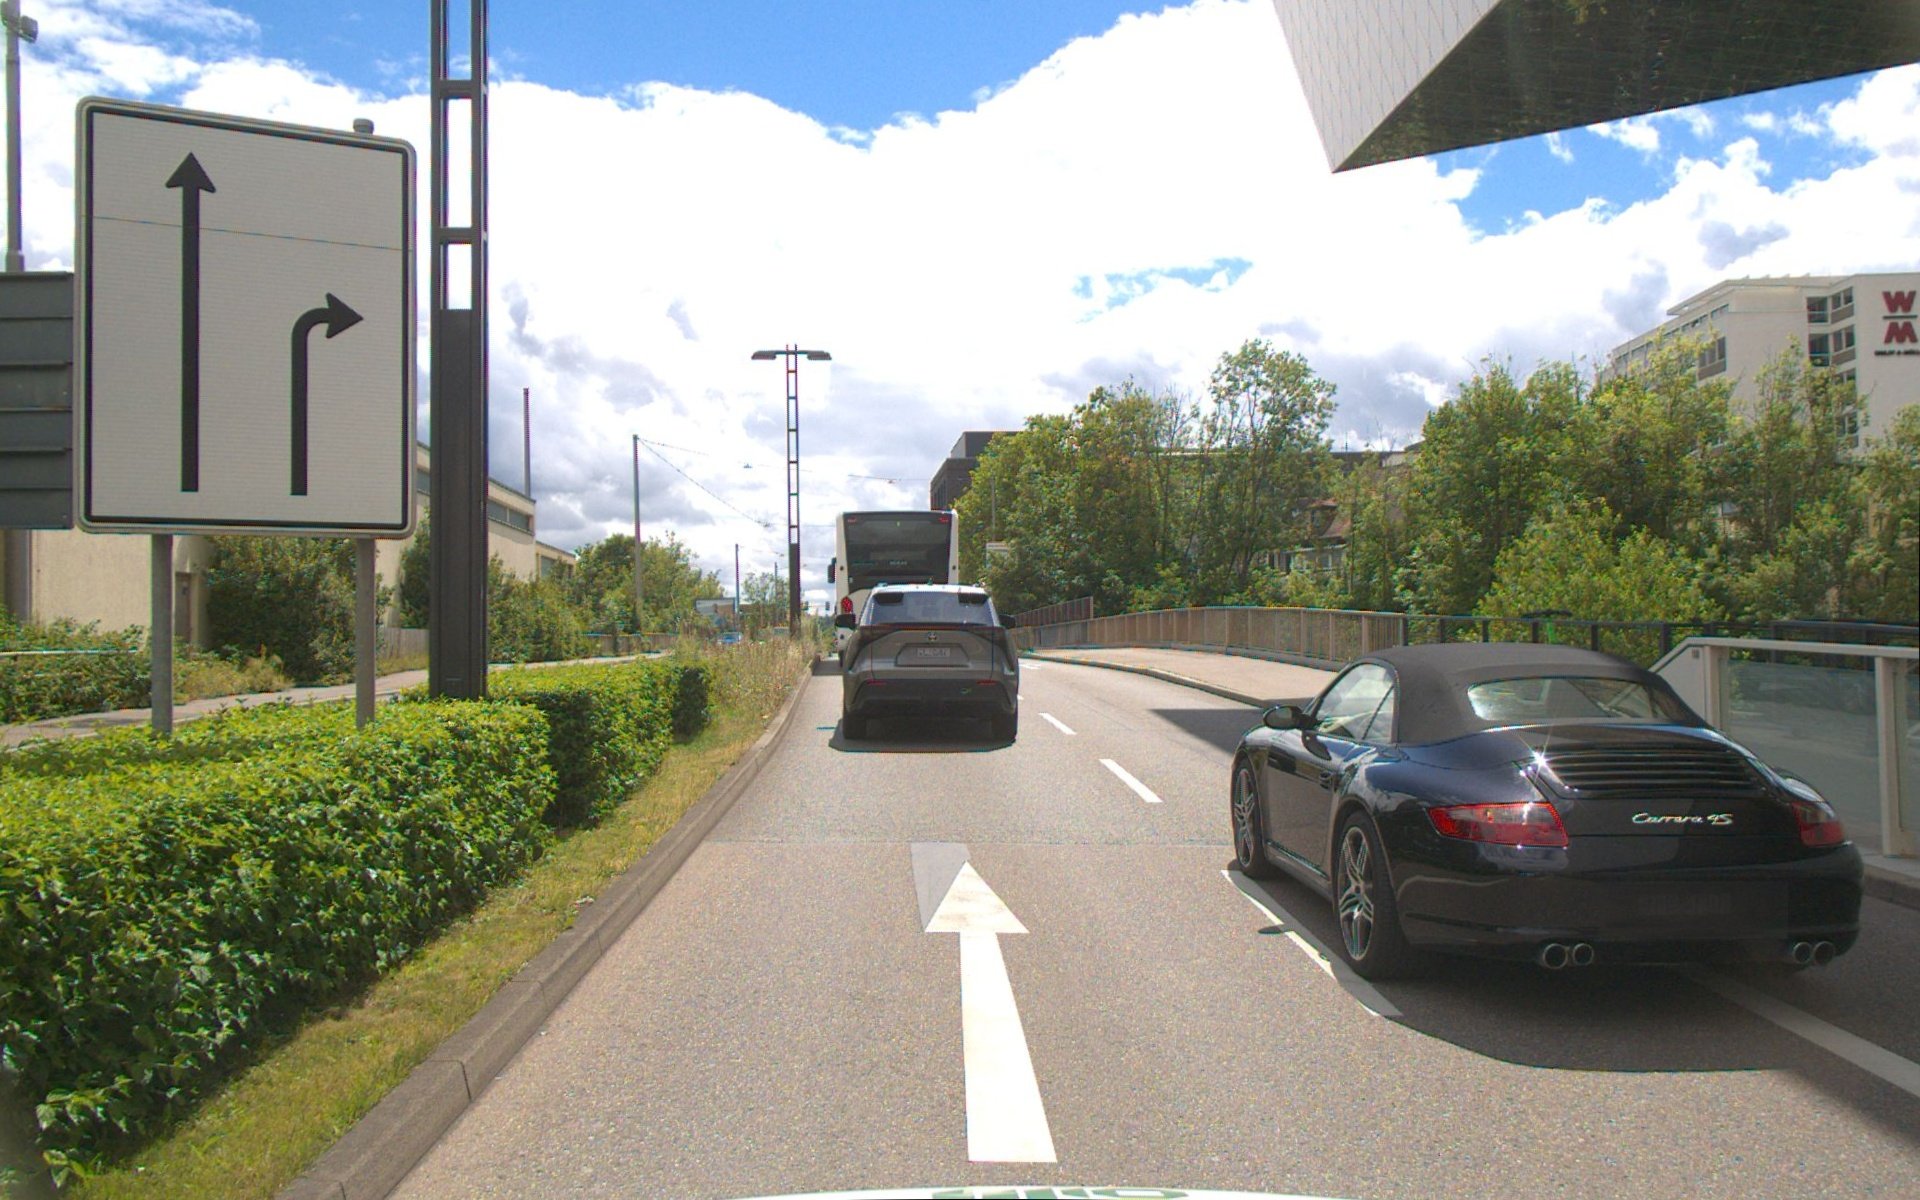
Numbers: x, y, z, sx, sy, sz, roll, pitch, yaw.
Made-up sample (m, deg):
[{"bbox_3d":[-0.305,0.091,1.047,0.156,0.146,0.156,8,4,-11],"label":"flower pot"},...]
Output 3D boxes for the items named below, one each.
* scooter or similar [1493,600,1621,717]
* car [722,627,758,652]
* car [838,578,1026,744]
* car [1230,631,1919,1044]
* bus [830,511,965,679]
[{"bbox_3d":[6.731,0.635,18.736,0.640,1.235,1.856,-2,0,-4],"label":"scooter or similar"},{"bbox_3d":[-12.517,2.227,94.394,1.720,1.298,3.996,-3,-1,-4],"label":"car"},{"bbox_3d":[-0.347,0.609,18.362,1.842,1.622,4.227,0,0,-2],"label":"car"},{"bbox_3d":[2.461,0.828,7.571,1.685,1.297,4.086,0,0,-2],"label":"car"},{"bbox_3d":[-1.457,-0.212,38.940,2.635,3.312,12.053,1,1,-2],"label":"bus"}]
